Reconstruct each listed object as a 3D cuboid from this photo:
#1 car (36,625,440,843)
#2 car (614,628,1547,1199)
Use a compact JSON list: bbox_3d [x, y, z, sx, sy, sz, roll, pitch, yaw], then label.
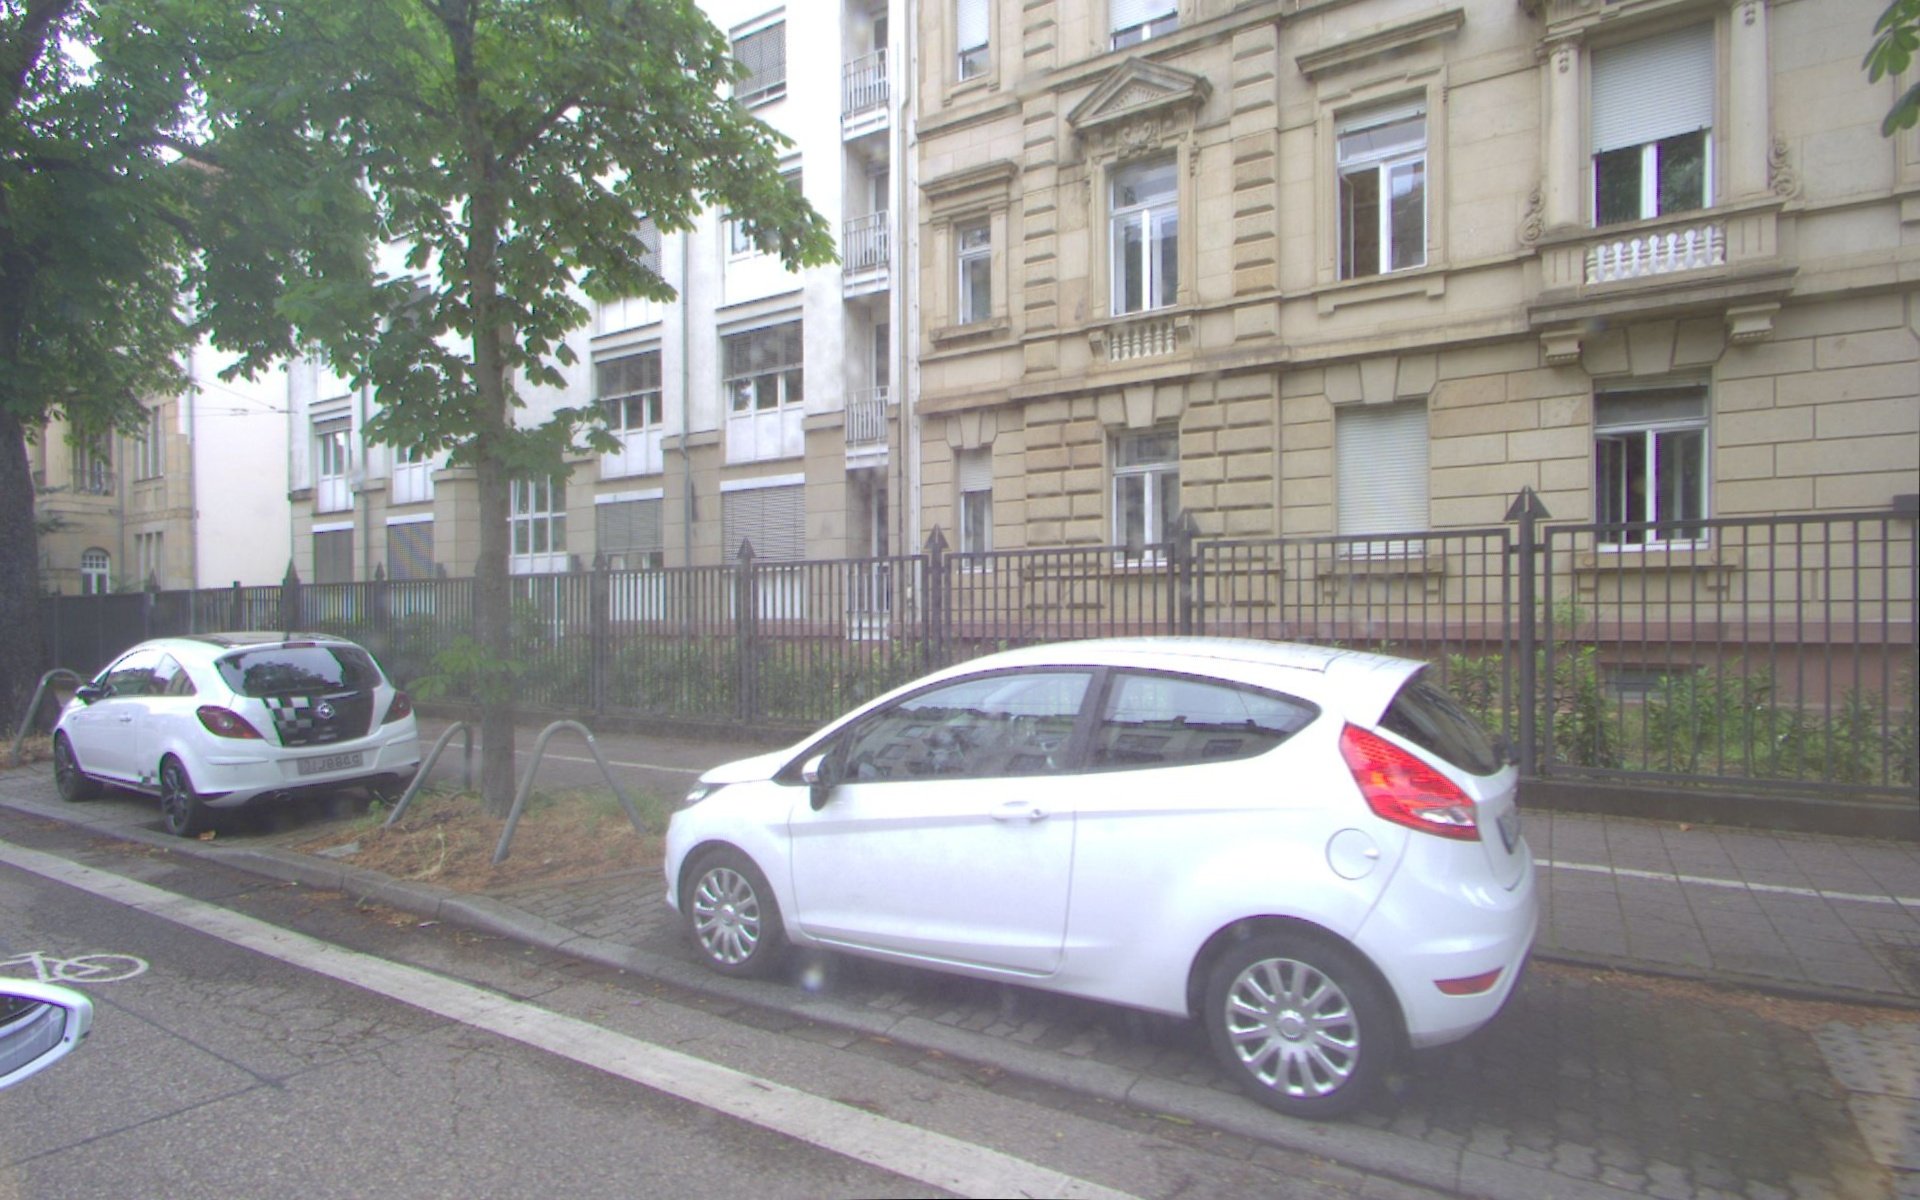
[{"bbox_3d":[-6.352,0.982,8.719,3.723,1.455,1.598,-1,1,33],"label":"car"},{"bbox_3d":[0.392,0.896,4.372,3.710,1.455,1.623,-1,1,32],"label":"car"}]
